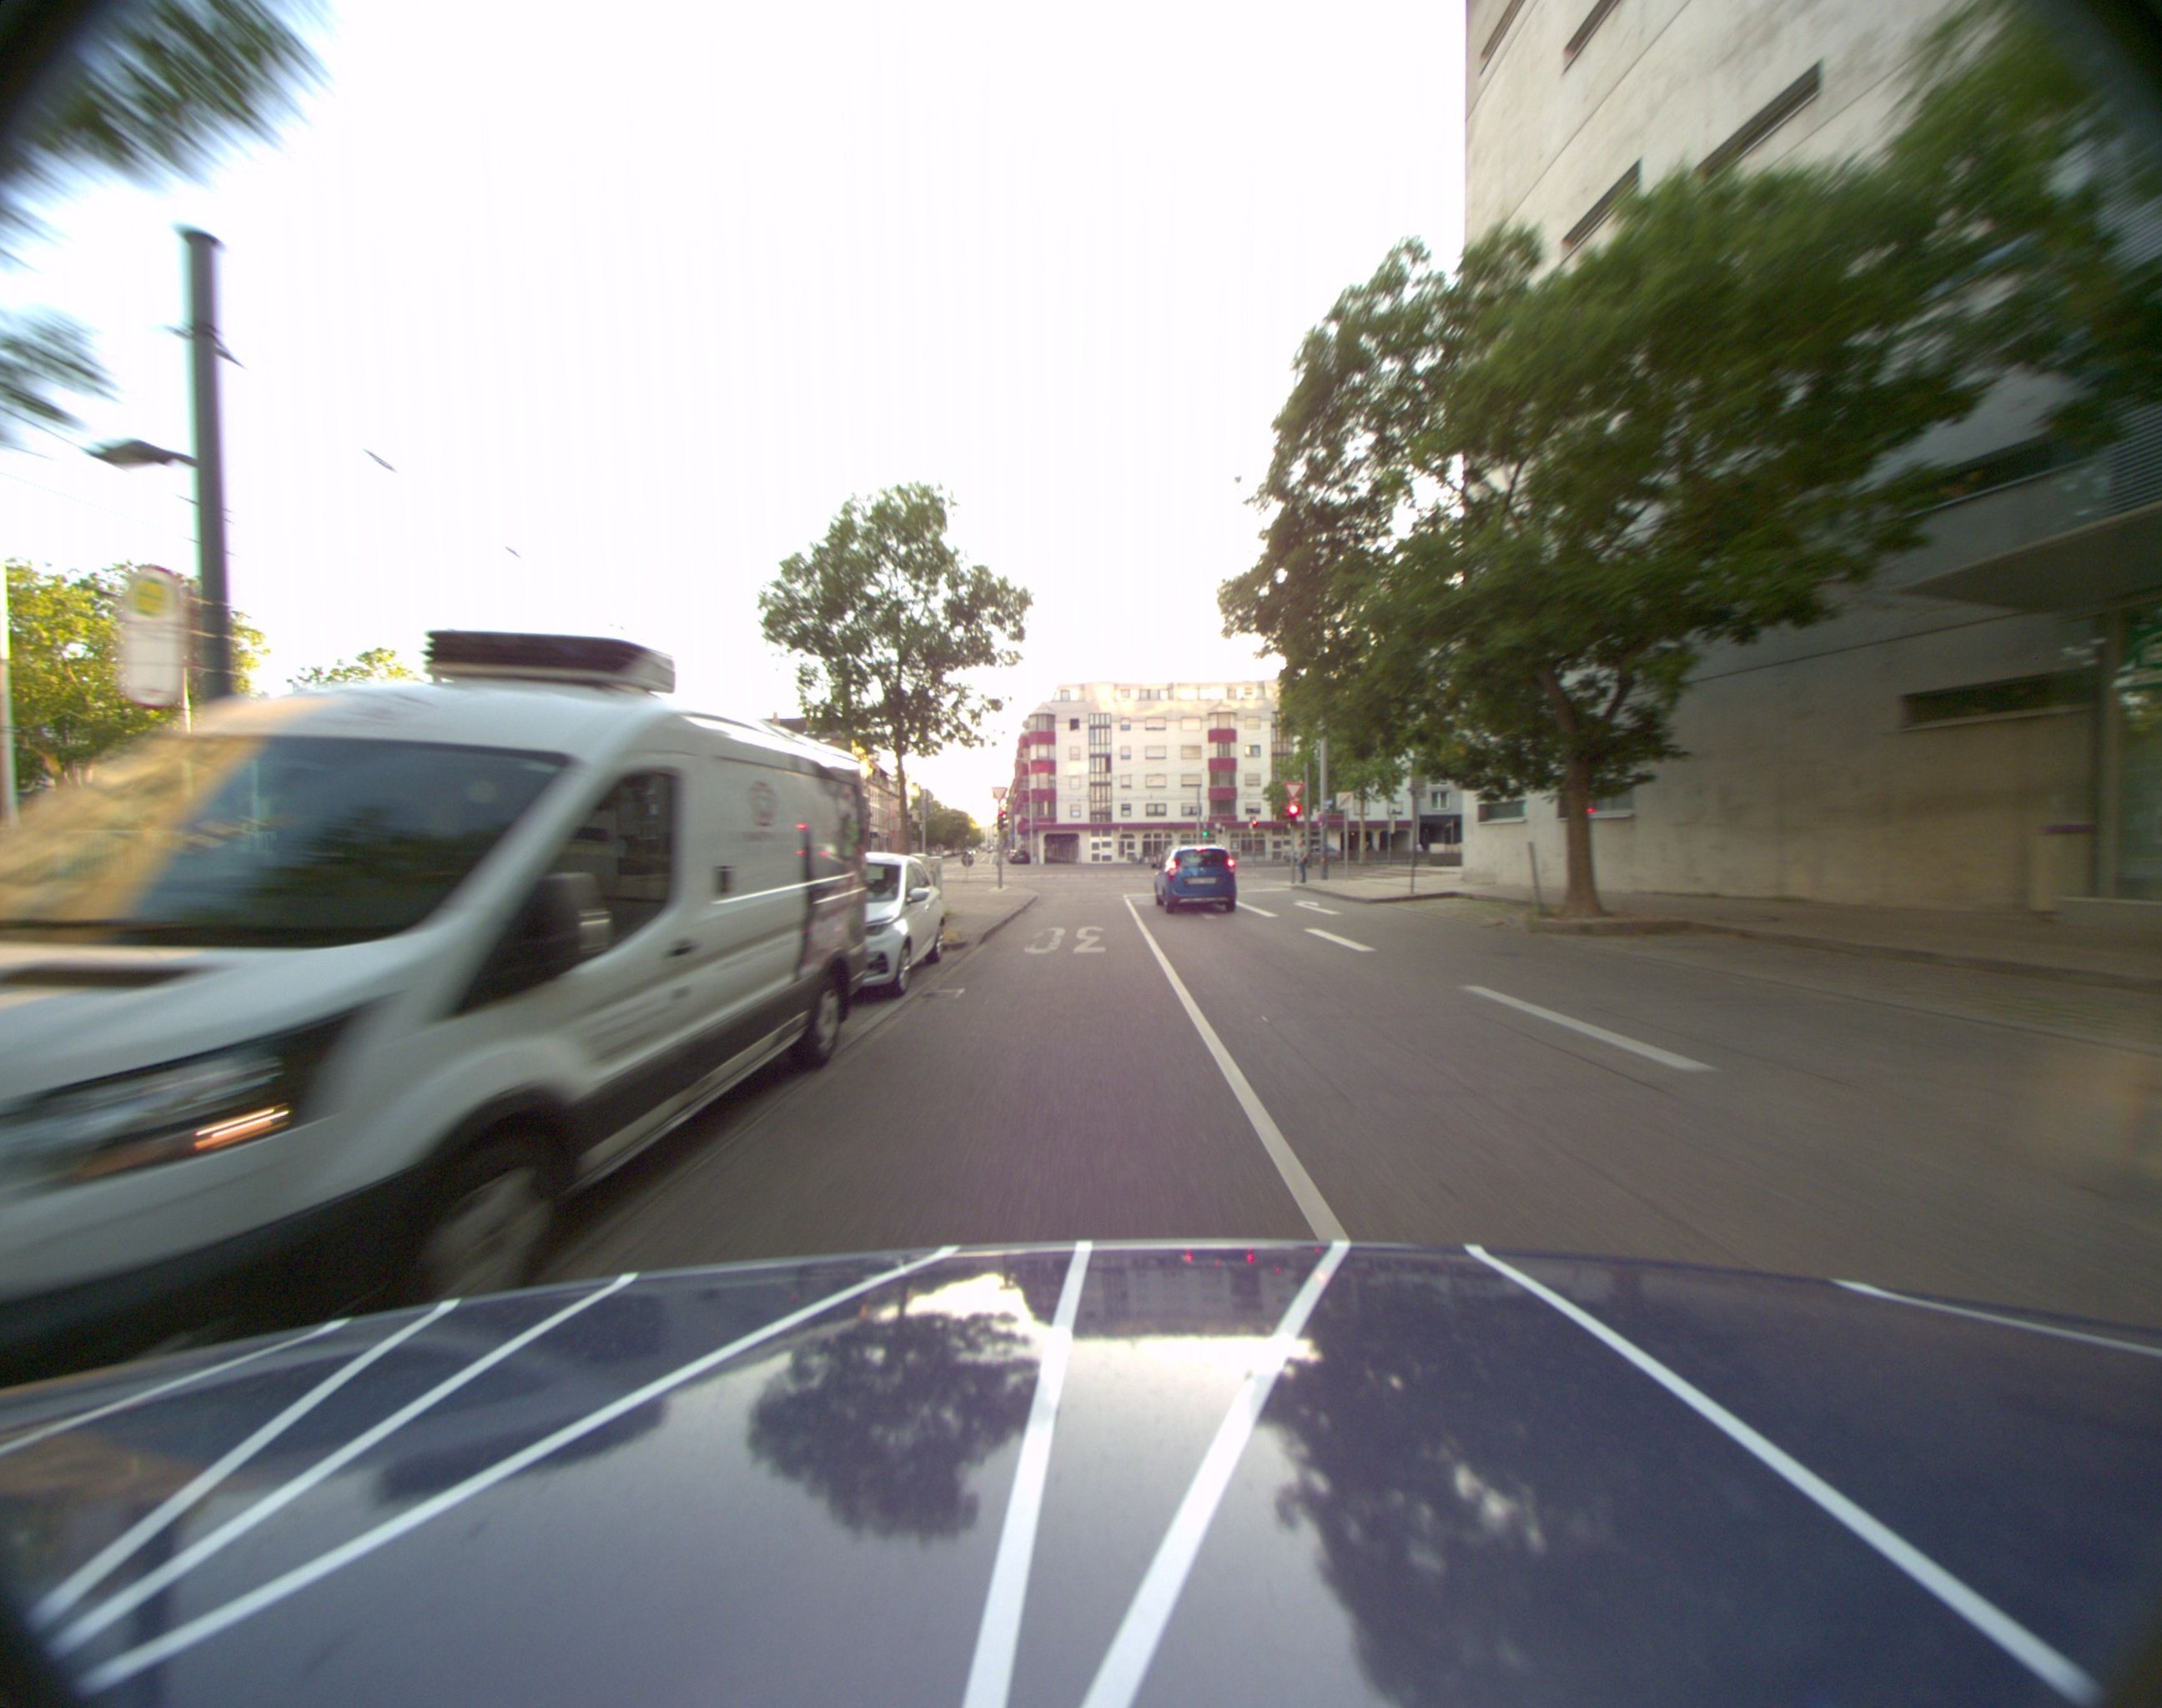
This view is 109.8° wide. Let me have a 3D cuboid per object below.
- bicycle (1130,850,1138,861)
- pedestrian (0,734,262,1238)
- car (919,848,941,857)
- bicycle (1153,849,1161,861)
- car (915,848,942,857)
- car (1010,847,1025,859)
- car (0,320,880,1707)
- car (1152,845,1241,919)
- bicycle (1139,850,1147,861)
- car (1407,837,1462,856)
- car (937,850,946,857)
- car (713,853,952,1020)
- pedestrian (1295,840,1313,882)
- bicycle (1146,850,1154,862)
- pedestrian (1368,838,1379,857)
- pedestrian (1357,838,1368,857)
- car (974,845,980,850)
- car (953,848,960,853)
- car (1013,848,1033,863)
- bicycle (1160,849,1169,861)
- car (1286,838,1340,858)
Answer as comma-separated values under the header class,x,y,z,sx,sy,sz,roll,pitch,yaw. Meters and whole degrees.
class,x,y,z,sx,sy,sz,roll,pitch,yaw
bicycle,4.836,0.136,69.846,0.515,1.040,1.902,-1,1,-2
pedestrian,-4.465,0.525,3.408,0.981,2.002,0.805,-2,2,-44
car,-26.242,-0.316,132.025,3.775,1.477,1.905,-1,1,-11
bicycle,6.983,0.111,69.895,0.515,1.040,1.902,-1,1,-2
car,-28.029,-0.269,139.903,4.706,1.477,1.905,-1,1,-11
car,-7.672,-0.158,91.916,1.786,1.448,4.295,-1,1,-4
car,-2.785,0.417,3.814,2.056,2.642,5.433,2,1,0
car,2.886,0.629,19.819,1.752,1.668,4.273,-2,1,2
bicycle,5.667,0.124,69.862,0.515,1.040,1.902,-1,1,-2
car,31.530,-0.681,67.809,4.099,1.587,1.666,-1,1,1
car,-30.057,-0.139,163.946,1.787,1.448,4.292,-1,1,-10
car,-2.828,0.825,9.615,1.752,1.574,4.012,2,1,-2
pedestrian,9.101,0.269,30.984,0.545,1.691,0.709,0,1,28
bicycle,6.385,0.179,69.933,0.515,1.040,1.902,-1,1,-2
pedestrian,27.431,-0.639,71.295,0.835,1.796,0.692,-1,1,2
pedestrian,26.218,-0.612,70.813,0.835,1.796,0.692,-1,1,2
car,-33.823,-2.093,246.562,1.787,1.448,4.294,-1,1,-7
car,-34.238,-0.966,209.560,1.787,1.427,4.292,-1,1,-10
car,-6.098,0.117,80.023,2.007,1.448,4.295,-1,1,-3
bicycle,7.639,0.107,69.651,0.515,1.040,1.902,-1,1,-2
car,19.738,-0.502,64.747,4.099,1.587,1.666,-1,1,1
